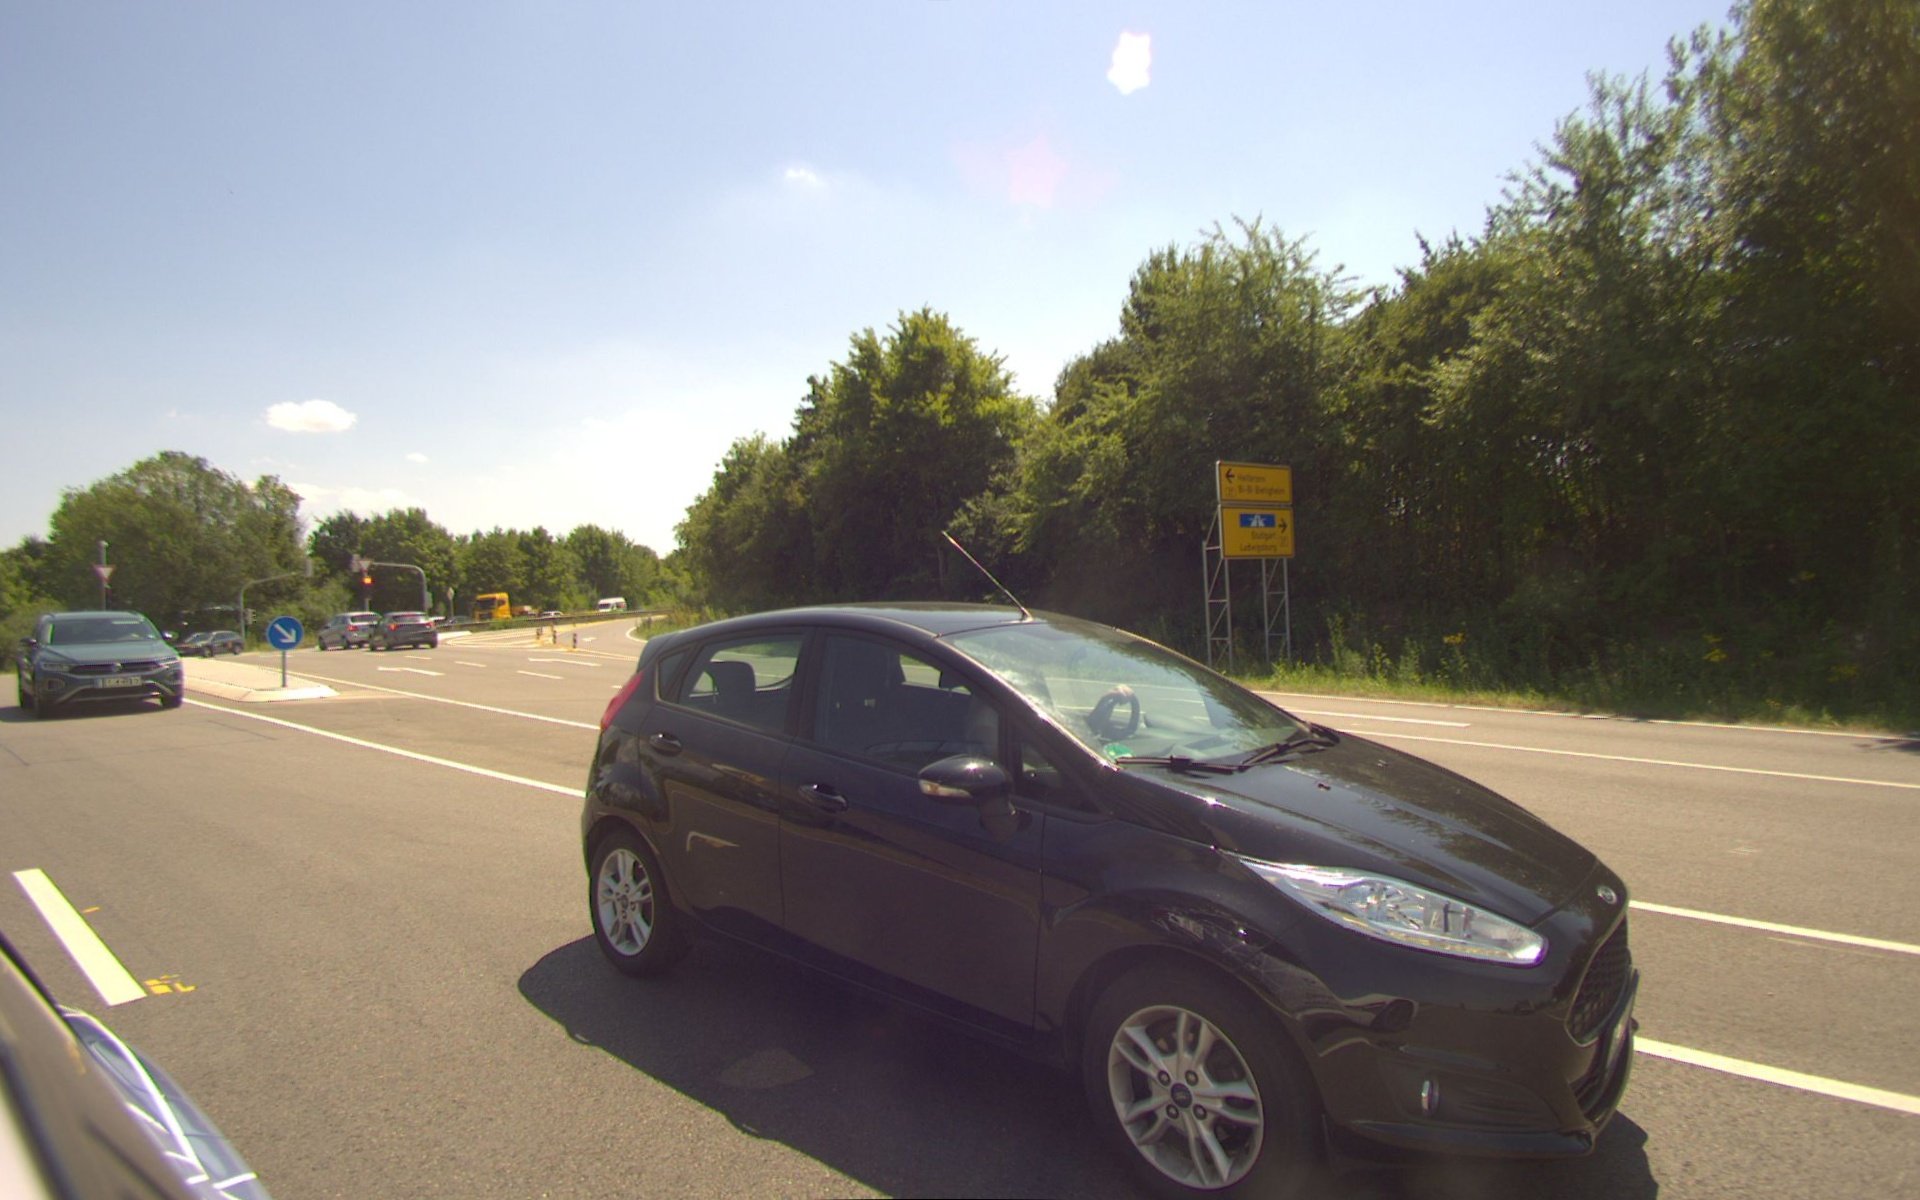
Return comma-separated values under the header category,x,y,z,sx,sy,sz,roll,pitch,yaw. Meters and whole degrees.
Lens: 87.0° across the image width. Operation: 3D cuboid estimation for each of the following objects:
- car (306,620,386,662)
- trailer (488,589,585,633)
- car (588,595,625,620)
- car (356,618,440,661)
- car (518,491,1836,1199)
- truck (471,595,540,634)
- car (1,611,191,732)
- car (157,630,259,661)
category,x,y,z,sx,sy,sz,roll,pitch,yaw
car,-27.462,1.840,45.206,4.348,1.611,1.593,-4,1,38
trailer,-44.304,1.027,106.577,3.037,4.093,13.142,-4,0,8
car,-42.332,0.873,121.335,2.141,2.626,5.476,-4,1,3
car,-22.168,1.556,39.858,1.969,1.449,4.228,-4,0,-41
car,0.232,0.646,3.531,4.206,1.505,1.635,-3,-1,42
truck,-45.046,1.364,100.468,2.951,3.564,6.842,-4,0,7
car,-14.015,1.072,16.326,4.391,1.598,1.815,-2,1,43
car,-44.403,2.670,59.856,2.111,1.603,4.405,-1,0,30
